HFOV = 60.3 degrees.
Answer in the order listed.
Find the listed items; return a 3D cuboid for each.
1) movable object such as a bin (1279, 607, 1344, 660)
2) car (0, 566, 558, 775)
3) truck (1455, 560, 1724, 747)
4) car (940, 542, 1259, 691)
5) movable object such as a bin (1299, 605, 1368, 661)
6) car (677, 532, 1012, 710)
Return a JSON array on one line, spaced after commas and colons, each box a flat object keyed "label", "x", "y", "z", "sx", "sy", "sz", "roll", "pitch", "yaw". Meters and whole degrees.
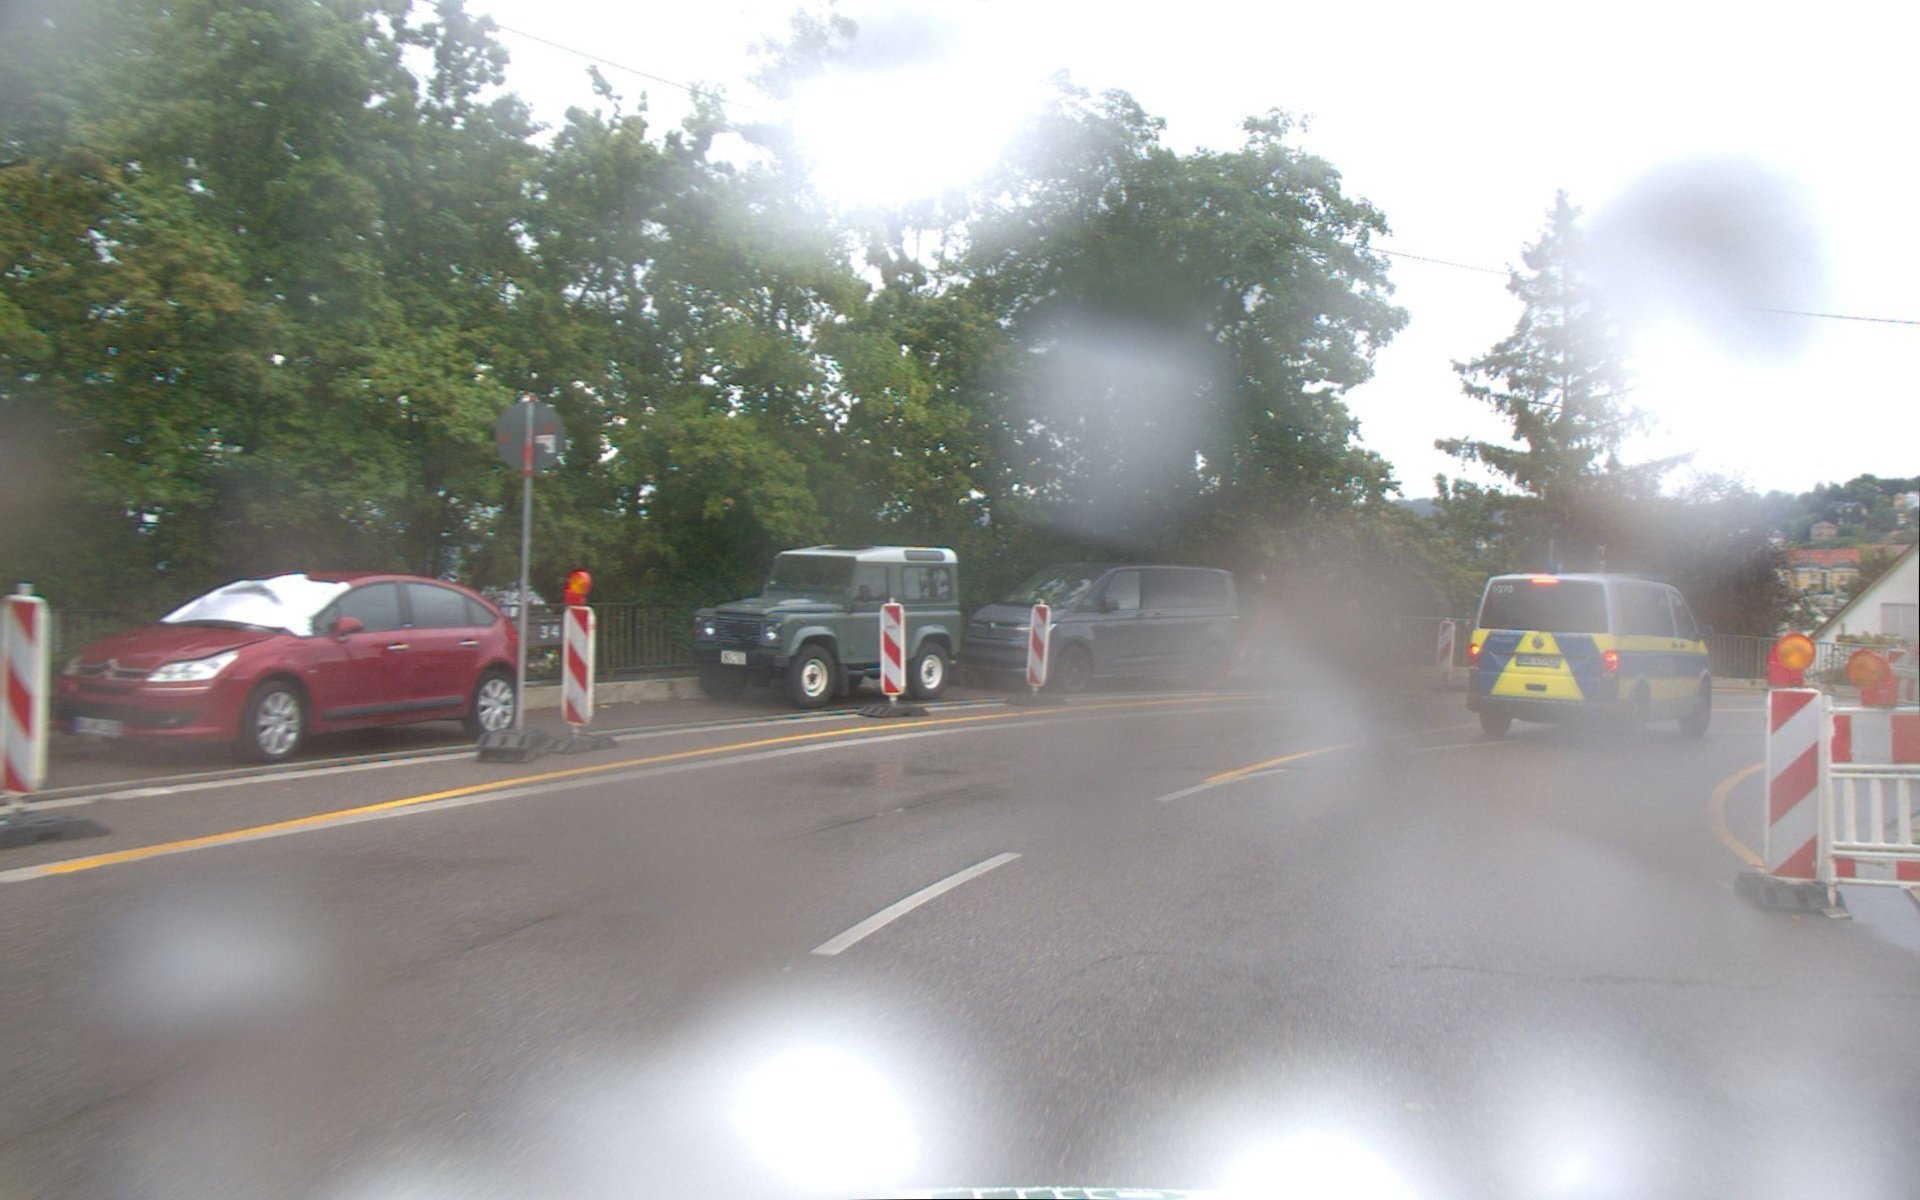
[{"label": "movable object such as a bin", "x": 7.604, "y": 0.718, "z": 35.792, "sx": 1.010, "sy": 1.126, "sz": 0.982, "roll": 1, "pitch": 0, "yaw": -23}, {"label": "car", "x": -5.602, "y": 0.498, "z": 14.250, "sx": 1.921, "sy": 1.465, "sz": 4.321, "roll": 2, "pitch": 1, "yaw": 23}, {"label": "truck", "x": 7.982, "y": 0.607, "z": 20.696, "sx": 1.960, "sy": 2.049, "sz": 4.715, "roll": 0, "pitch": -1, "yaw": 37}, {"label": "car", "x": 2.232, "y": 0.267, "z": 25.557, "sx": 4.902, "sy": 2.048, "sz": 1.972, "roll": 2, "pitch": 1, "yaw": -40}, {"label": "movable object such as a bin", "x": 7.836, "y": 0.684, "z": 34.753, "sx": 1.010, "sy": 1.126, "sz": 0.982, "roll": 2, "pitch": -1, "yaw": -23}, {"label": "car", "x": -1.373, "y": 0.229, "z": 21.840, "sx": 1.833, "sy": 2.048, "sz": 4.798, "roll": 3, "pitch": 1, "yaw": 34}]
